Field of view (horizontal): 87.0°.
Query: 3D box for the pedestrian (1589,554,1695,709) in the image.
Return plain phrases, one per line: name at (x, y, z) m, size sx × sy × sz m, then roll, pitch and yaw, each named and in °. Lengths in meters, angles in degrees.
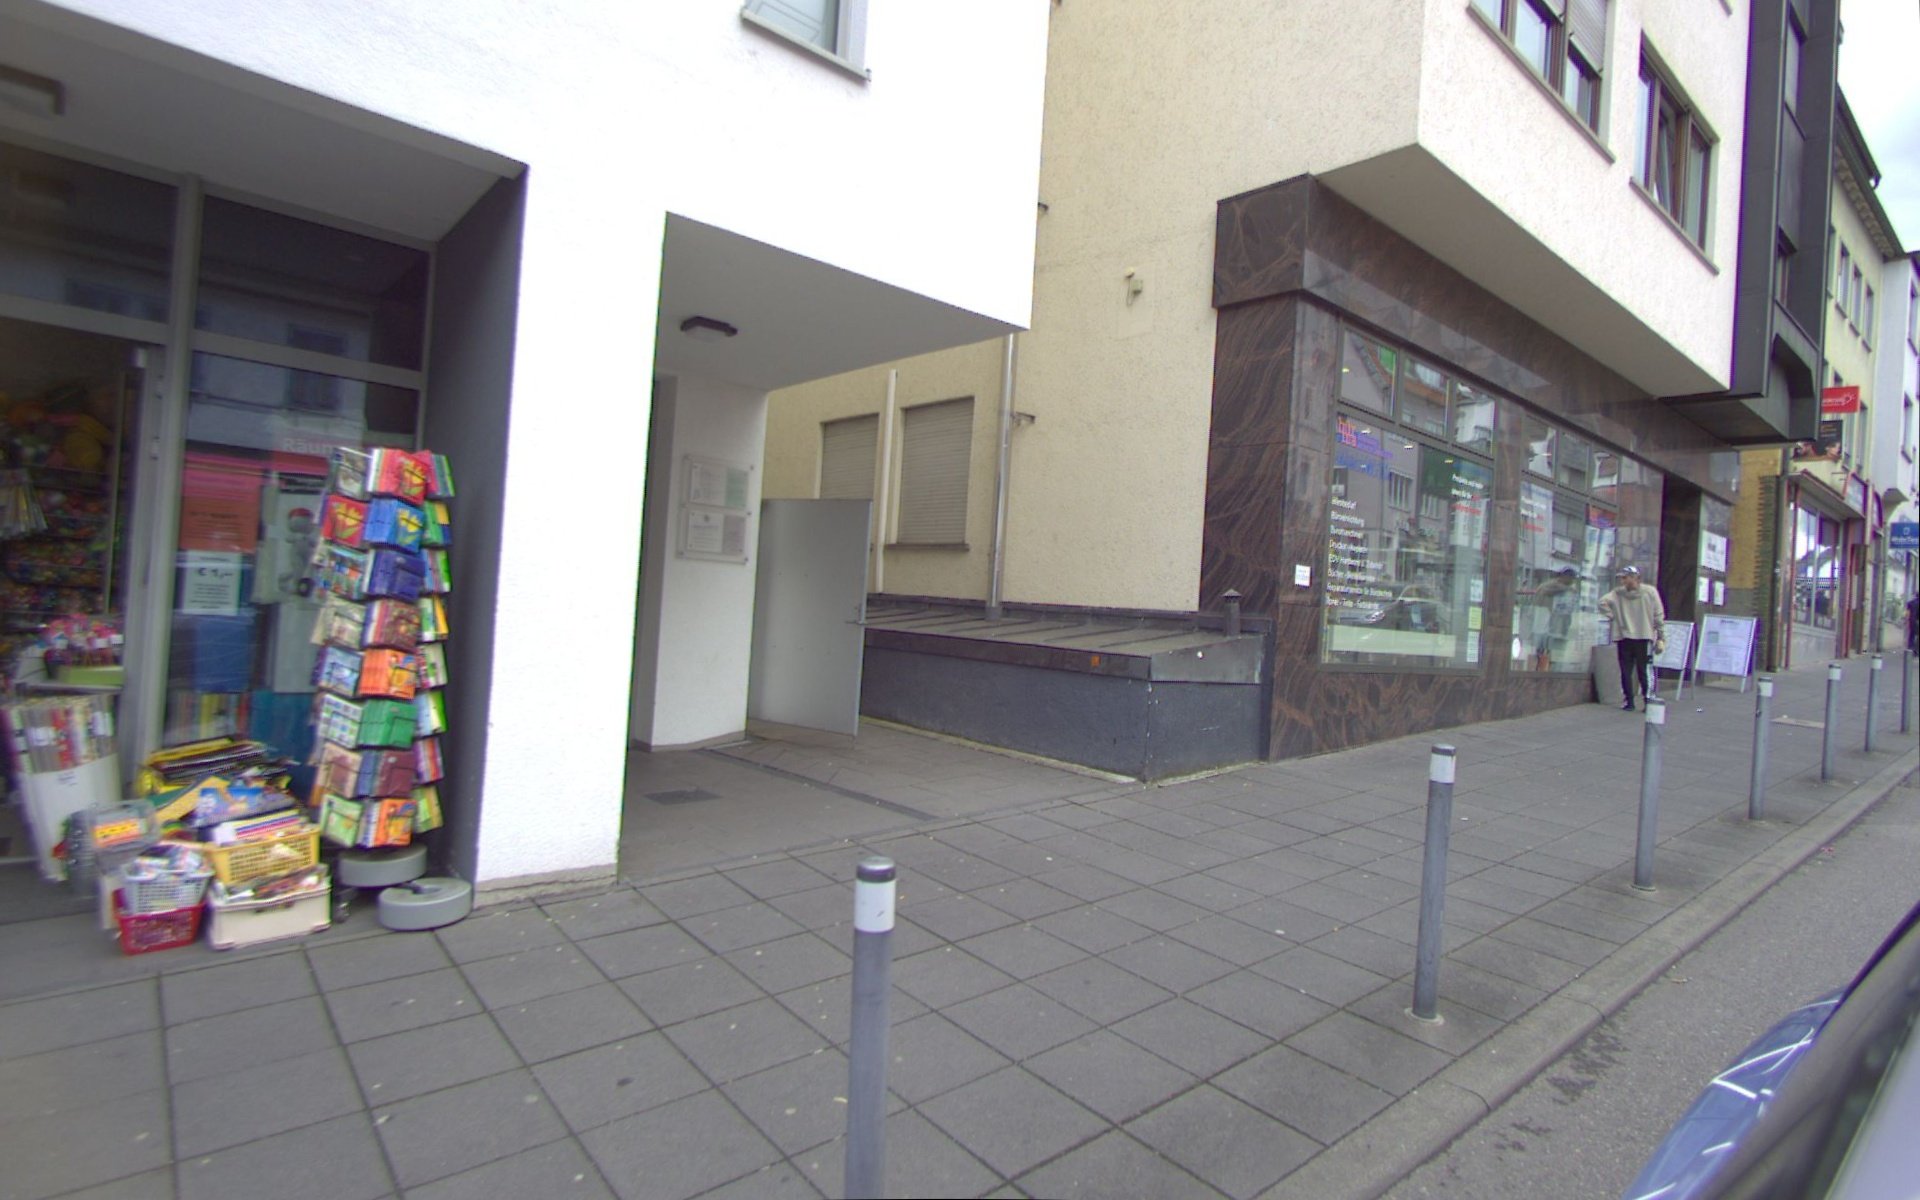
pedestrian at (7.955, 0.345, 11.804) m, size 0.767 × 1.693 × 0.759 m, roll 1°, pitch 4°, yaw -43°
